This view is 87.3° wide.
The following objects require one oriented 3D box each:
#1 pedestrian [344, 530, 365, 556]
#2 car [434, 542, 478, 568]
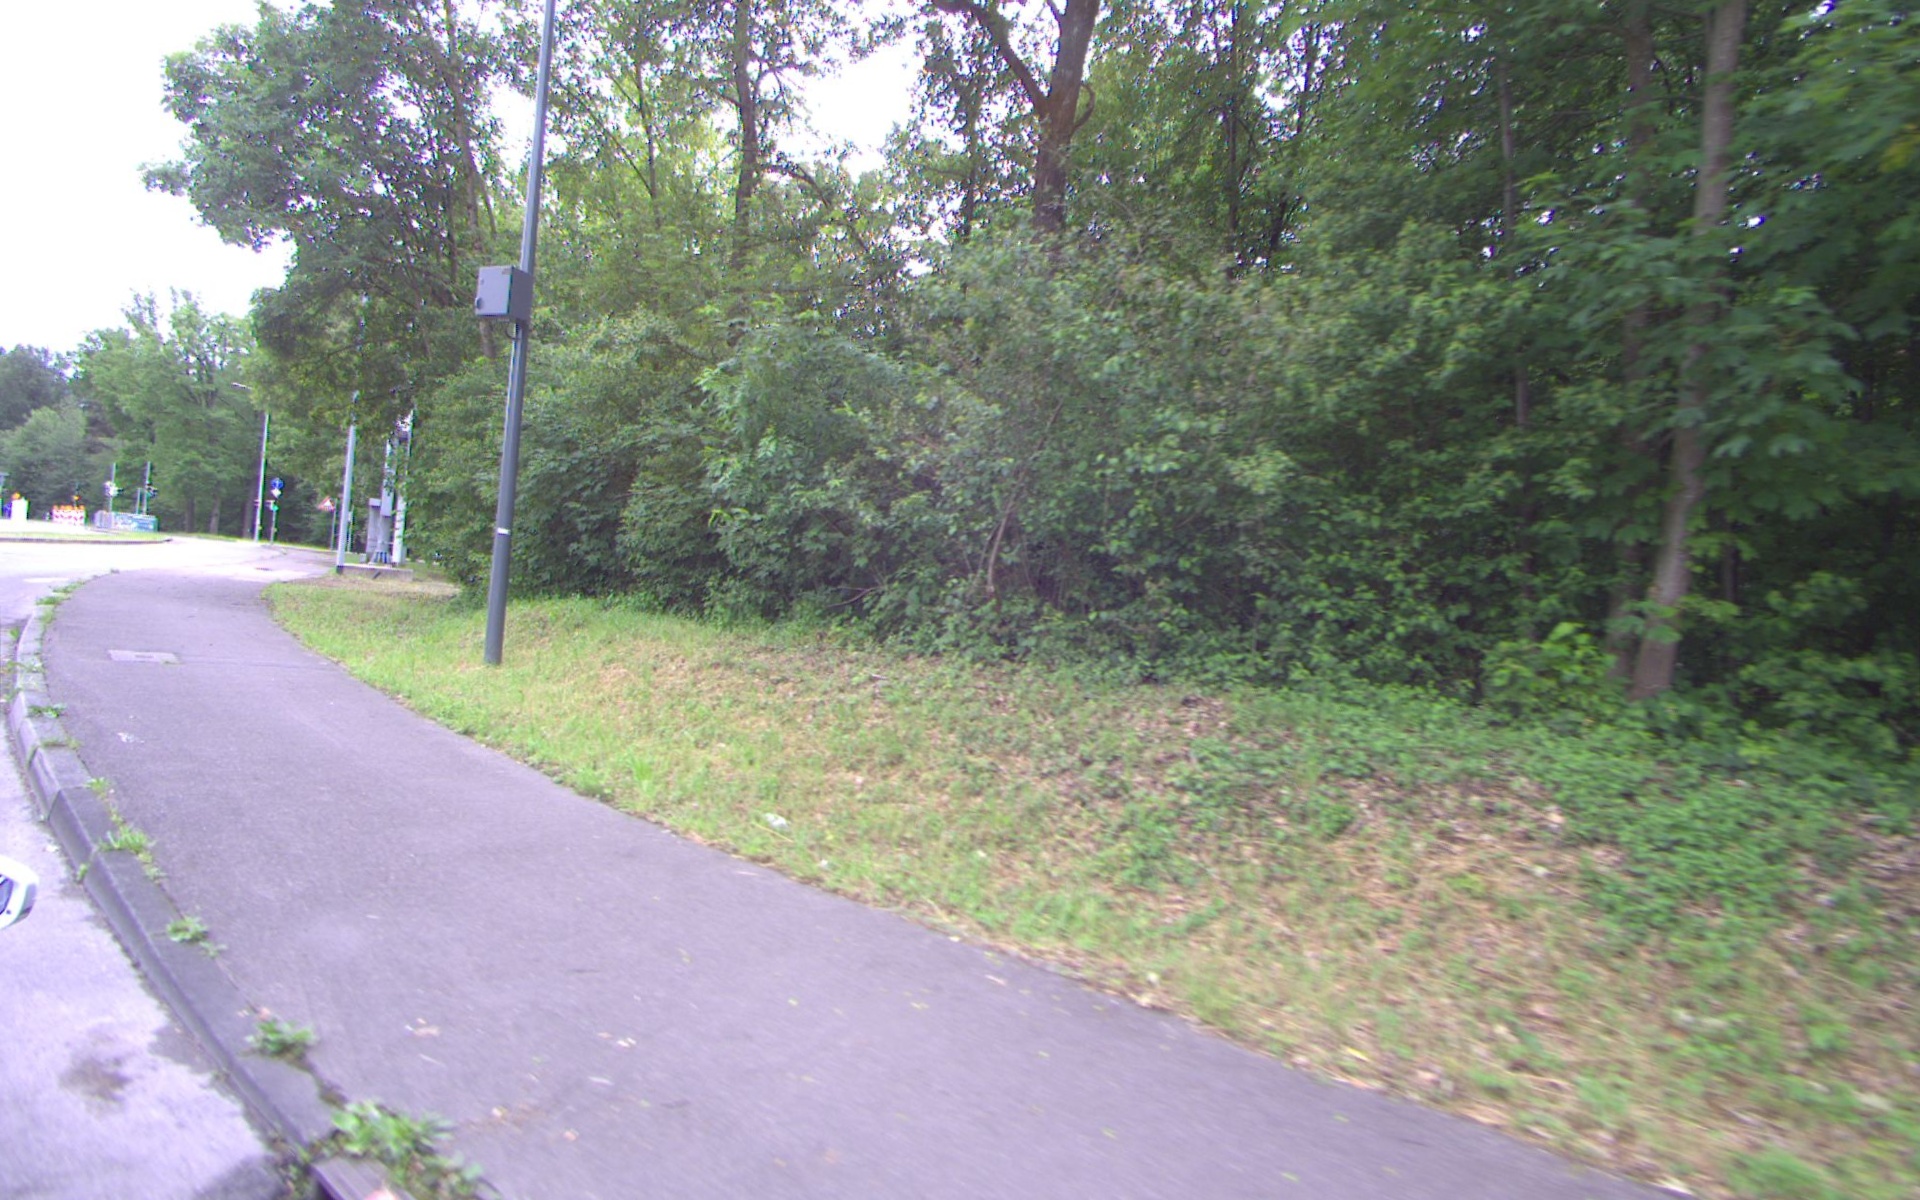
[{"bbox_3d":[-38.293,-3.573,63.606,0.830,1.525,0.788,6,1,-15],"label":"pedestrian"},{"bbox_3d":[-35.613,-3.169,71.231,1.810,1.556,3.989,6,0,-14],"label":"car"}]
